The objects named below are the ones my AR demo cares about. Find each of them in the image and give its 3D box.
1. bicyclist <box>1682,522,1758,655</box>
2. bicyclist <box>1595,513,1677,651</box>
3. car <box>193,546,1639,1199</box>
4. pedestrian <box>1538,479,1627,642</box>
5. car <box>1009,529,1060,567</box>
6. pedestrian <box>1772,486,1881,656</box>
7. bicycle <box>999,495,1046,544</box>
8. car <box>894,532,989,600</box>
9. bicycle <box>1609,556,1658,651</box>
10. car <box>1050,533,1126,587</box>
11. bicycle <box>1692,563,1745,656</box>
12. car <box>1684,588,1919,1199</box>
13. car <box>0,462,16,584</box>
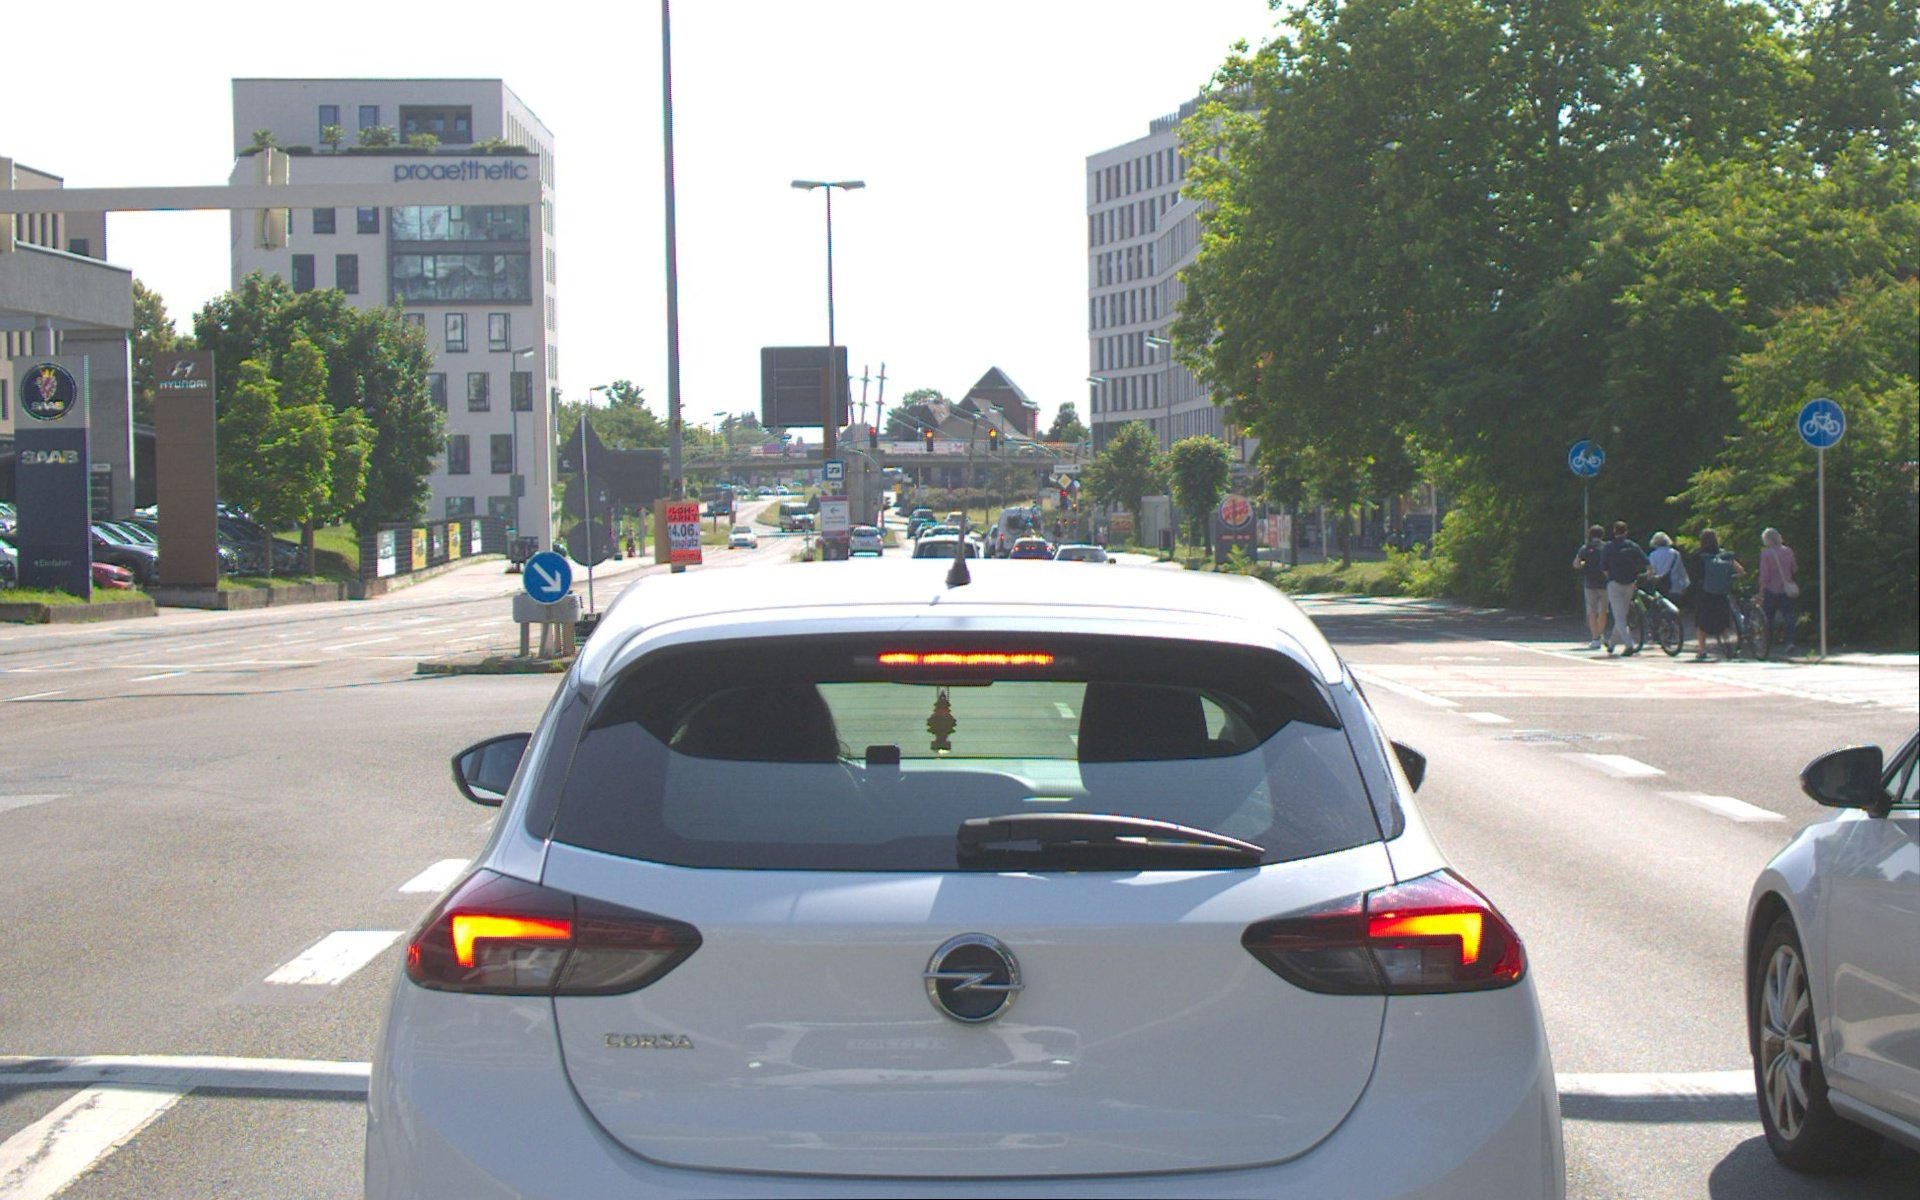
[{"bbox_3d":[9.530,-0.153,43.118,0.688,1.637,0.777,-1,1,-9],"label":"bicyclist"},{"bbox_3d":[8.810,-0.243,44.823,0.879,1.766,0.864,-1,1,0],"label":"bicyclist"},{"bbox_3d":[-0.076,0.663,6.256,1.779,1.489,4.000,-1,1,-1],"label":"car"},{"bbox_3d":[8.675,-0.551,47.932,1.027,2.231,1.039,-1,1,-1],"label":"pedestrian"},{"bbox_3d":[2.864,-1.989,132.398,1.806,1.381,4.000,1,0,-1],"label":"car"},{"bbox_3d":[10.438,-0.358,41.442,1.027,2.007,1.039,-1,1,-1],"label":"pedestrian"},{"bbox_3d":[2.813,-3.625,155.056,1.993,2.150,4.000,-1,1,-1],"label":"bicycle"},{"bbox_3d":[-0.426,-0.720,74.829,1.806,1.381,4.000,0,-1,-4],"label":"car"},{"bbox_3d":[8.781,0.033,44.845,0.372,1.212,1.154,1,1,-1],"label":"bicycle"},{"bbox_3d":[3.401,-1.062,91.887,1.806,1.381,4.000,1,0,-1],"label":"car"},{"bbox_3d":[9.497,0.112,43.070,0.373,1.143,1.034,1,0,-3],"label":"bicycle"},{"bbox_3d":[2.843,0.700,6.851,1.807,1.424,4.000,-1,1,-2],"label":"car"},{"bbox_3d":[-22.549,-1.608,73.048,4.357,2.592,2.000,-1,1,5],"label":"car"}]
